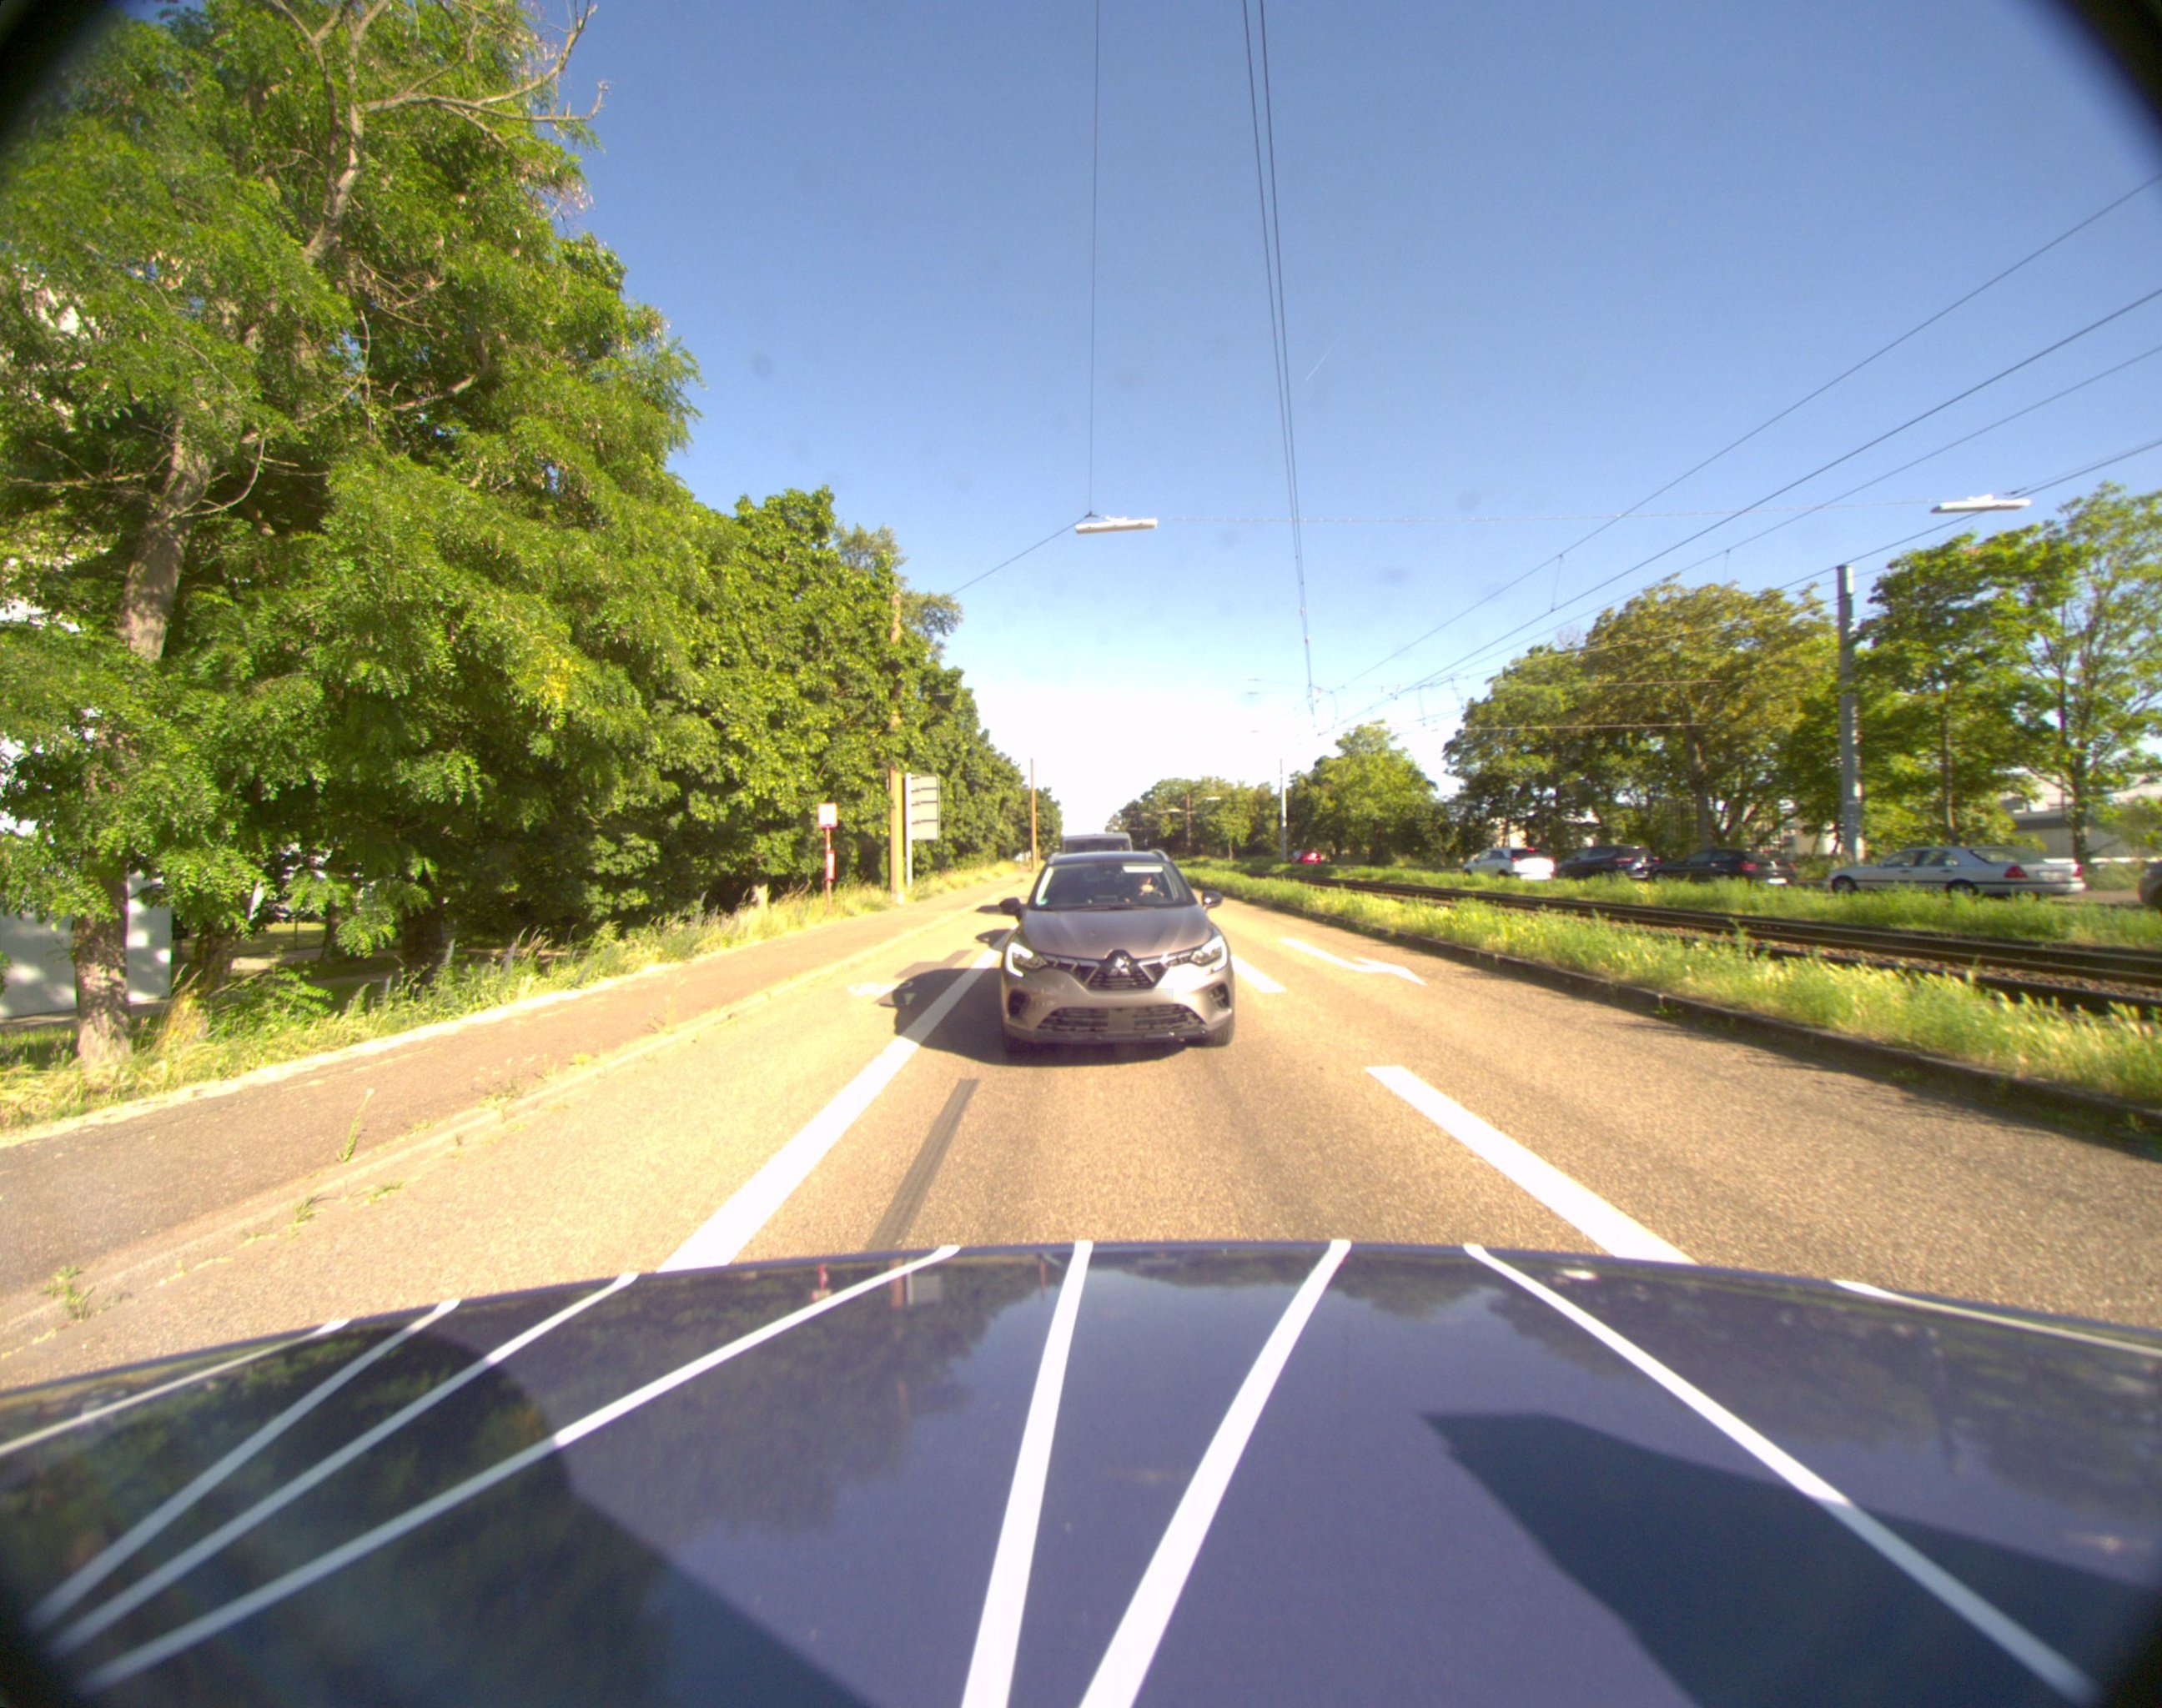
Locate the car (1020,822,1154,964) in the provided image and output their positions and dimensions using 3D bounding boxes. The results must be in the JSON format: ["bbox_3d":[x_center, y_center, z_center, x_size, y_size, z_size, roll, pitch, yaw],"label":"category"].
[{"bbox_3d":[0.117,0.602,13.655,1.998,2.113,4.000,-2,0,1],"label":"car"}]

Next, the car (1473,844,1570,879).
[{"bbox_3d":[21.553,0.338,37.406,2.130,1.554,4.560,-2,0,0],"label":"car"}]

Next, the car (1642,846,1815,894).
[{"bbox_3d":[21.335,0.500,25.327,1.960,1.417,4.488,-2,0,1],"label":"car"}]

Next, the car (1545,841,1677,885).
[{"bbox_3d":[21.296,0.354,30.824,2.130,1.578,4.616,-2,0,1],"label":"car"}]

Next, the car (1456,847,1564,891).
[{"bbox_3d":[16.507,0.539,29.513,1.859,1.548,4.157,-2,0,1],"label":"car"}]

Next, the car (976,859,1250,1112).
[{"bbox_3d":[0.174,0.888,7.312,1.796,1.583,4.529,-1,0,-1],"label":"car"}]

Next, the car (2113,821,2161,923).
[{"bbox_3d":[21.232,0.299,12.487,2.207,1.923,4.685,-2,0,2],"label":"car"}]

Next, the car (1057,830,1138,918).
[{"bbox_3d":[0.362,0.539,21.592,1.999,2.198,4.786,-1,-1,-1],"label":"car"}]

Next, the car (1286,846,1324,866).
[{"bbox_3d":[20.983,0.197,71.465,2.321,1.723,4.798,-2,0,3],"label":"car"}]

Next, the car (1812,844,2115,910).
[{"bbox_3d":[21.537,0.516,18.933,2.130,1.372,4.616,-2,0,-1],"label":"car"}]
